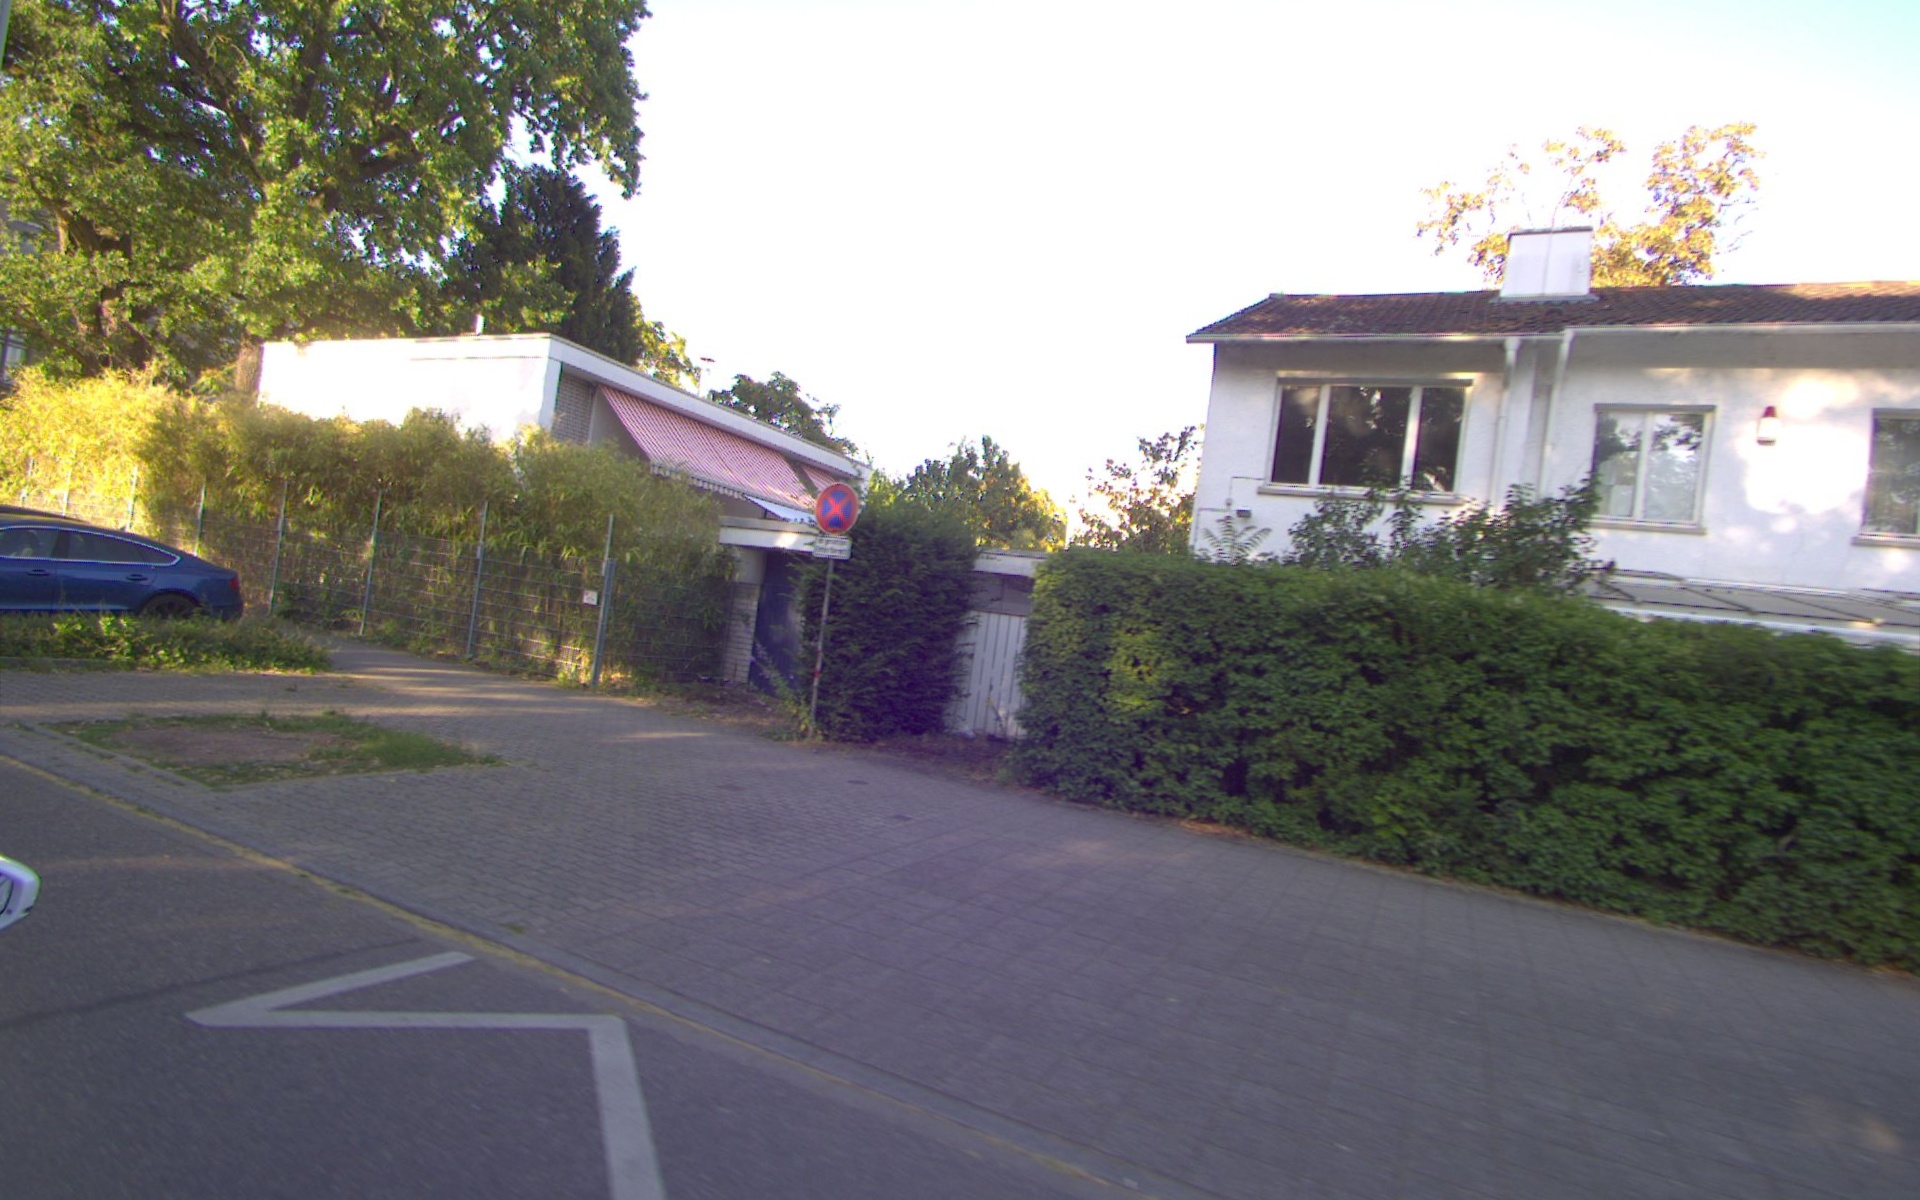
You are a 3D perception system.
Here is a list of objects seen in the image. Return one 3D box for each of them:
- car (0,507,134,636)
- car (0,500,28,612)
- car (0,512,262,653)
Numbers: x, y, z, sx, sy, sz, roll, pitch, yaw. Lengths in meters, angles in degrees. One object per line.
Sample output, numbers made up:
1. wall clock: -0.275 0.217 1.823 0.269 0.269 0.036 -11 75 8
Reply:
1. car: -13.093 -0.541 12.629 1.759 1.541 3.695 7 -3 23
2. car: -15.182 -0.877 13.413 1.729 1.602 3.510 7 -2 17
3. car: -10.924 -0.273 11.341 1.889 1.431 4.599 6 -1 28
